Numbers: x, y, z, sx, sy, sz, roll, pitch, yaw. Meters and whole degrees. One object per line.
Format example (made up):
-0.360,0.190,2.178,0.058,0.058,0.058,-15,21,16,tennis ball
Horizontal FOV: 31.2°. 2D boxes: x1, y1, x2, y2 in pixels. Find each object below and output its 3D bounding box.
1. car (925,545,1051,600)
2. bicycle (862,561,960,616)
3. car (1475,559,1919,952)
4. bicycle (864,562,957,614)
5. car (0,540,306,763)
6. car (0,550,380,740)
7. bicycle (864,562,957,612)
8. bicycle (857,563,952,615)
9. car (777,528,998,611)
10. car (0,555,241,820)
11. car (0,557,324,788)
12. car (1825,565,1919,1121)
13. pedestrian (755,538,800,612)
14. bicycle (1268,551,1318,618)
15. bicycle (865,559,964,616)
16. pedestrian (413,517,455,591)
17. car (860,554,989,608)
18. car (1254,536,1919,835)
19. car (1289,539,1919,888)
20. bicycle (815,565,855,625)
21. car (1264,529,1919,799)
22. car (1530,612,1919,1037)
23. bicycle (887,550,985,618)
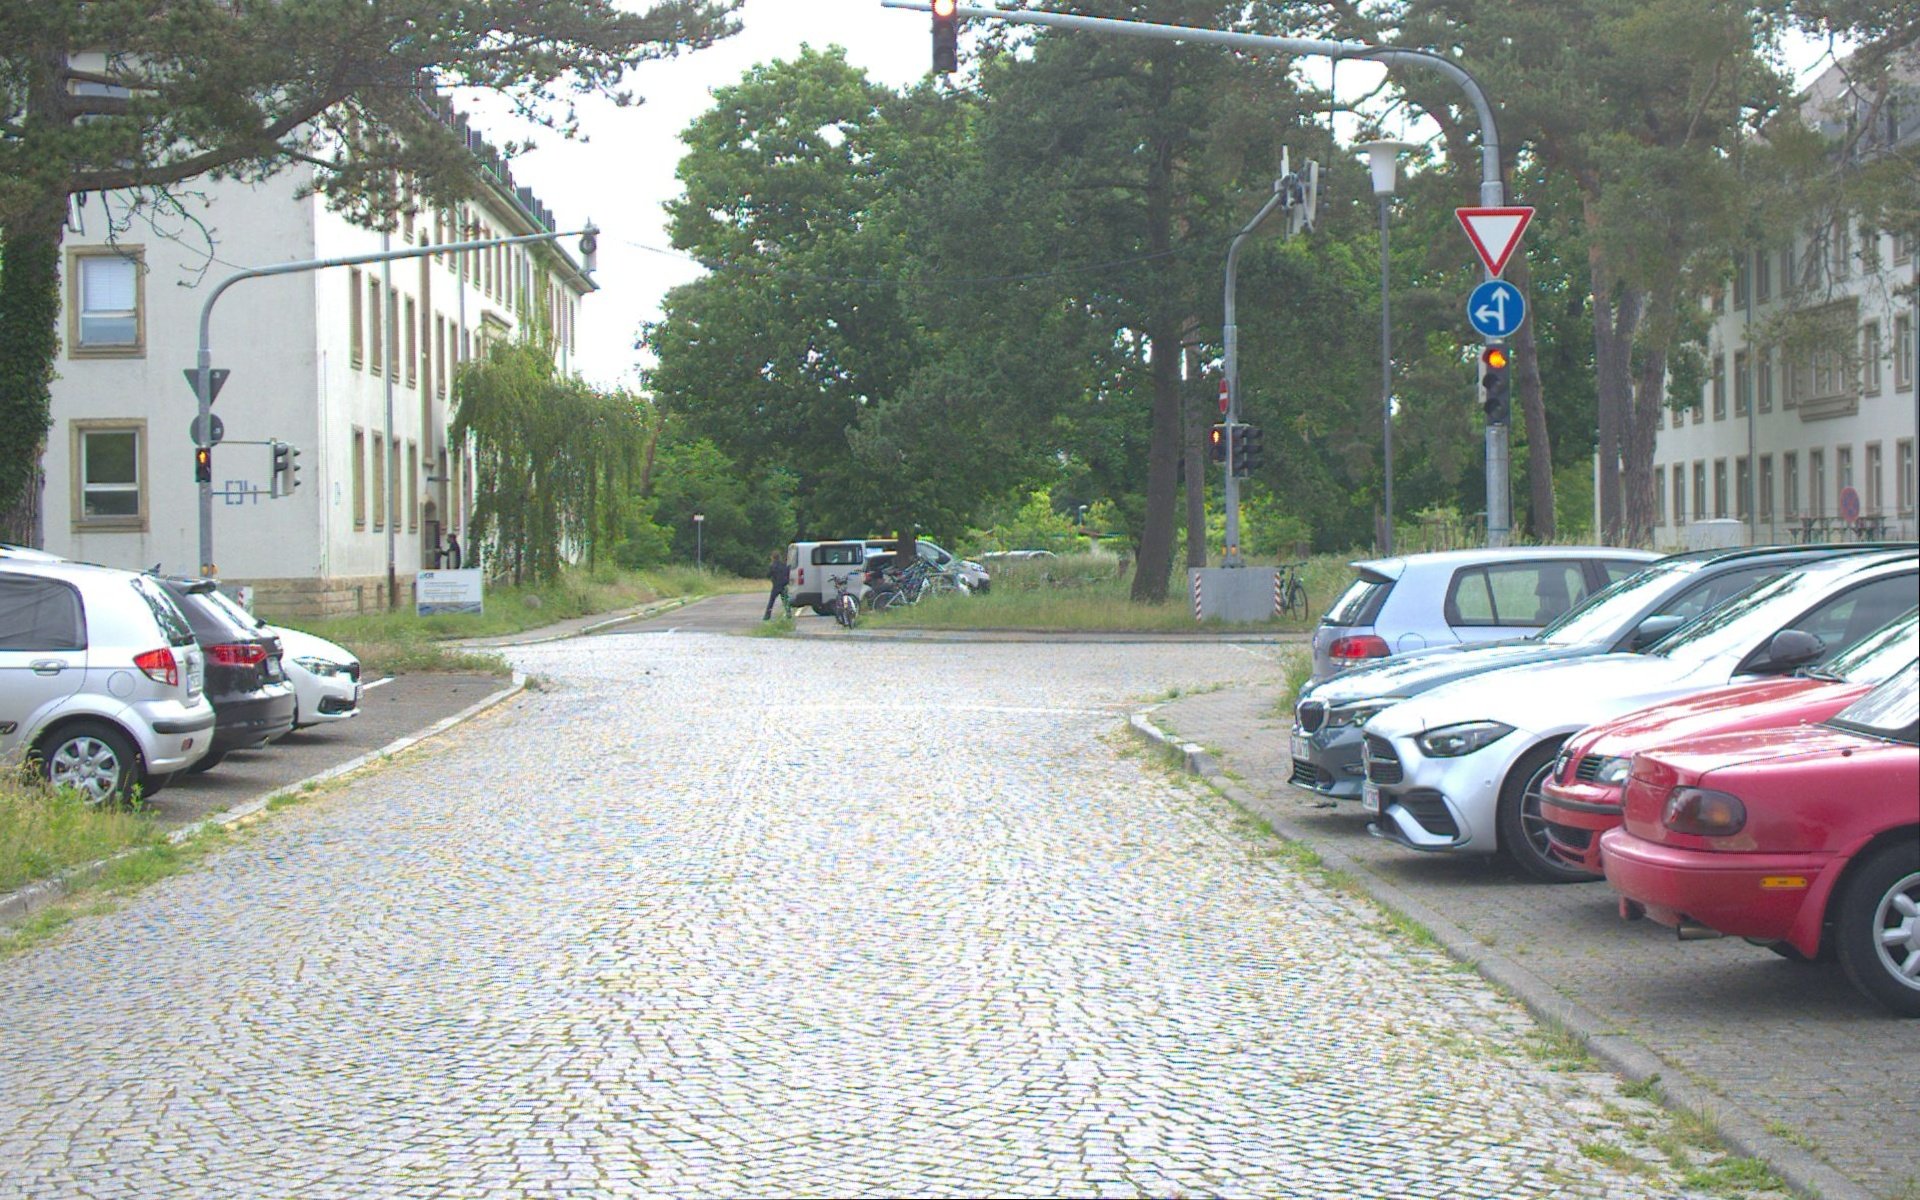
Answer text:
0.735,-0.753,92.295,3.231,1.411,1.725,-1,1,-4,car
-1.018,-0.246,70.920,1.954,1.113,0.588,-1,1,-8,bicycle
4.432,0.536,14.144,4.261,1.412,1.871,-2,1,-2,car
-1.061,-0.261,73.753,1.955,1.066,0.588,-1,1,-31,bicycle
-7.031,0.337,25.863,3.947,1.558,1.650,2,1,-4,car
-6.911,0.339,28.409,3.947,1.416,1.650,2,1,-2,car
-1.078,-0.295,75.107,1.955,1.066,0.588,-1,1,-26,bicycle
-1.170,-0.242,72.400,1.955,1.066,0.588,-1,1,-31,bicycle
-1.878,-0.785,88.353,5.359,1.918,2.025,-2,1,-10,car
-6.290,0.459,20.502,3.702,1.474,1.583,2,1,-4,car
-6.272,0.437,23.101,3.745,1.424,1.583,2,1,-4,car
4.467,0.579,9.031,3.862,1.467,1.758,-2,1,-3,car
-4.007,-0.553,75.394,0.738,1.613,0.776,-1,1,-24,pedestrian
5.639,-0.276,58.321,0.586,1.102,1.962,-1,1,-2,bicycle
-0.934,-0.261,70.288,1.954,1.129,0.588,-1,1,-8,bicycle
-13.109,-1.156,85.745,0.774,1.831,0.741,-1,1,-33,pedestrian
-0.882,-0.471,85.014,3.005,1.264,1.535,-1,1,-7,car
4.122,0.411,19.092,4.680,1.412,1.871,-2,1,-4,car
3.989,0.454,16.402,4.421,1.412,1.871,-3,1,-10,car
-2.442,-0.100,67.058,0.603,1.129,1.962,-1,1,-7,bicycle
3.970,0.371,21.541,3.927,1.472,1.642,-2,1,0,car
4.060,0.652,11.675,3.862,1.232,1.758,-2,1,-3,car
-0.503,-0.343,71.762,1.954,1.379,0.588,-1,1,-8,bicycle
